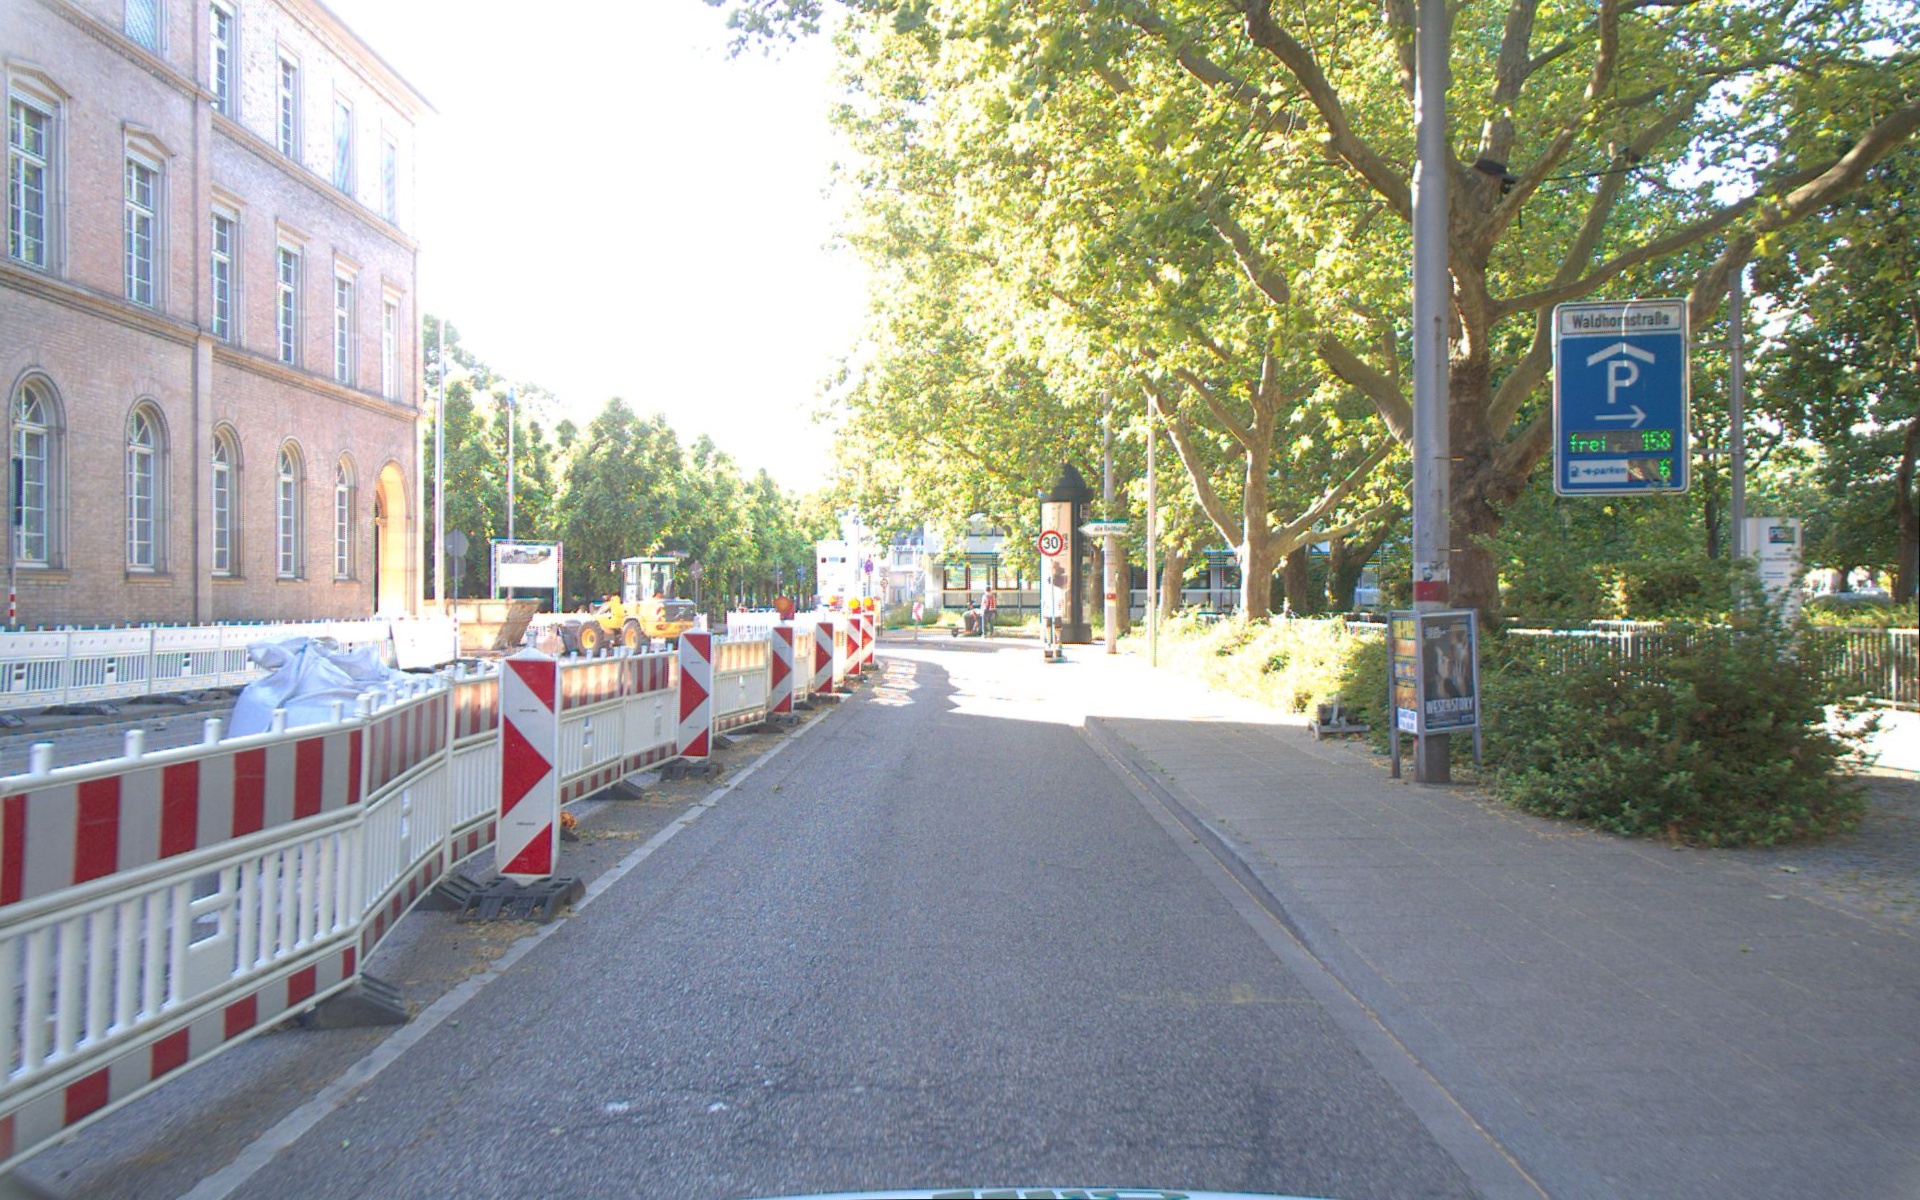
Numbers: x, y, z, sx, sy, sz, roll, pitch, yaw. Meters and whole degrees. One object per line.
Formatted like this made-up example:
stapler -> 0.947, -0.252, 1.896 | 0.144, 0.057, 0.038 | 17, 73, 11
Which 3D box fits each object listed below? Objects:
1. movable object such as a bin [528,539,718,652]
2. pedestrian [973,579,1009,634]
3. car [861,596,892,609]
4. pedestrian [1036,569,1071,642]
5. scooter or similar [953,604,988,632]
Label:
movable object such as a bin -> -9.868, -0.104, 48.159 | 5.830, 3.084, 2.550 | -1, 0, 44
pedestrian -> 0.926, 0.191, 50.200 | 0.701, 1.652, 0.929 | 0, -1, -31
car -> -12.311, 0.329, 243.229 | 4.465, 1.822, 1.999 | 0, 0, -2
pedestrian -> 2.418, 0.133, 42.925 | 0.730, 1.844, 1.133 | 0, 2, -5
scooter or similar -> 0.372, 0.612, 56.605 | 1.125, 0.930, 0.419 | -2, -1, -8
